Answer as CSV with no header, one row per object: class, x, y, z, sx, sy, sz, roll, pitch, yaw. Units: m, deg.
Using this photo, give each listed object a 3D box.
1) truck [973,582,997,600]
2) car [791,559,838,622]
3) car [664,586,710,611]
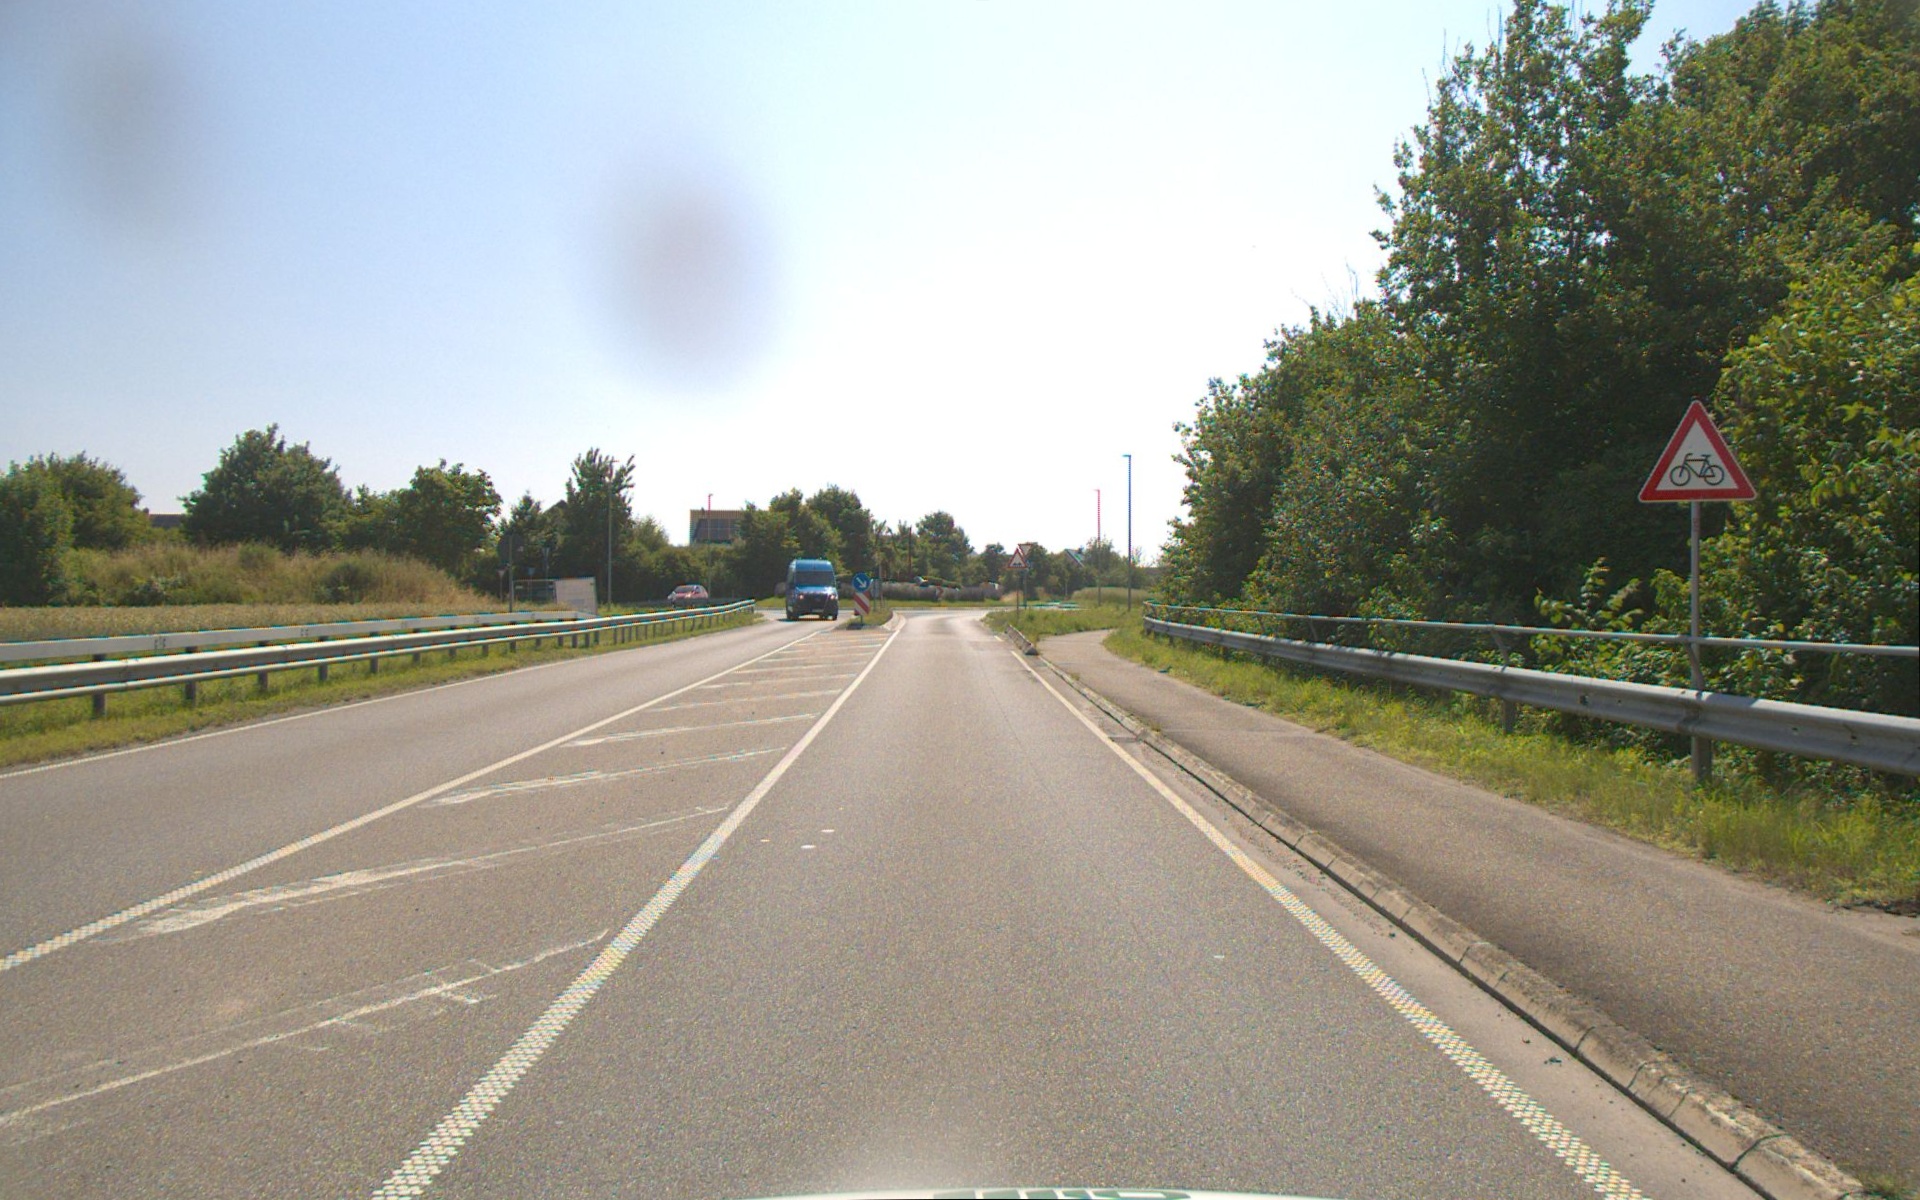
truck,2.890,-1.016,191.158,1.951,2.049,4.003,0,0,14
car,-6.566,-0.438,74.794,1.955,2.656,7.283,-2,1,-5
car,-17.159,-0.094,104.173,1.592,1.517,3.806,-1,0,12
